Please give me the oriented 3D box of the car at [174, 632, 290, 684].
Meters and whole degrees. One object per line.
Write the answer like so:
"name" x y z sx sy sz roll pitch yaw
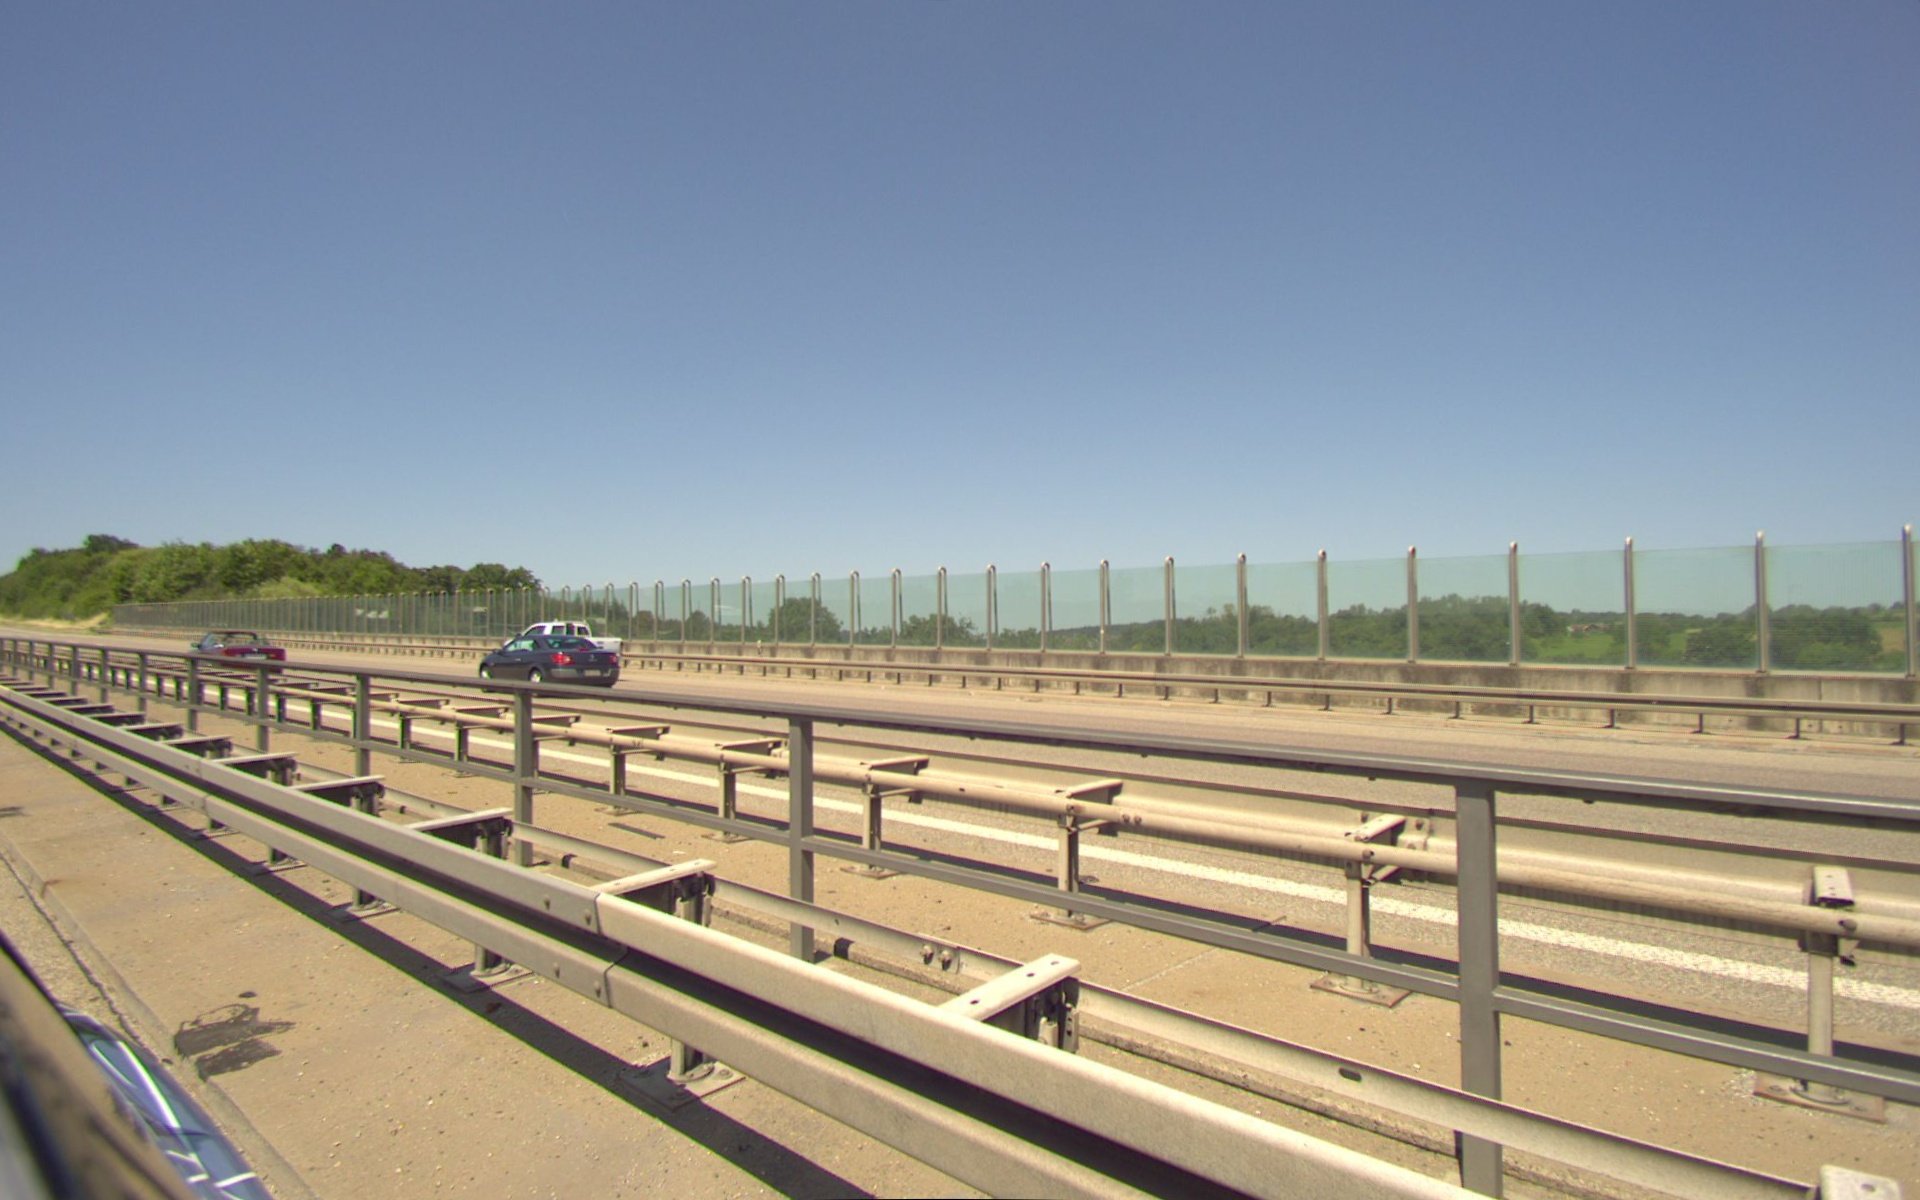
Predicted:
"car" -20.149 1.563 27.941 4.339 1.328 1.581 -2 -4 41

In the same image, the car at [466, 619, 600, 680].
"car" -14.412 1.641 34.029 5.252 1.899 1.973 -2 -4 41

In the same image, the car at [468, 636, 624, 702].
"car" -9.542 1.529 23.176 4.177 1.360 1.581 -2 -4 41
